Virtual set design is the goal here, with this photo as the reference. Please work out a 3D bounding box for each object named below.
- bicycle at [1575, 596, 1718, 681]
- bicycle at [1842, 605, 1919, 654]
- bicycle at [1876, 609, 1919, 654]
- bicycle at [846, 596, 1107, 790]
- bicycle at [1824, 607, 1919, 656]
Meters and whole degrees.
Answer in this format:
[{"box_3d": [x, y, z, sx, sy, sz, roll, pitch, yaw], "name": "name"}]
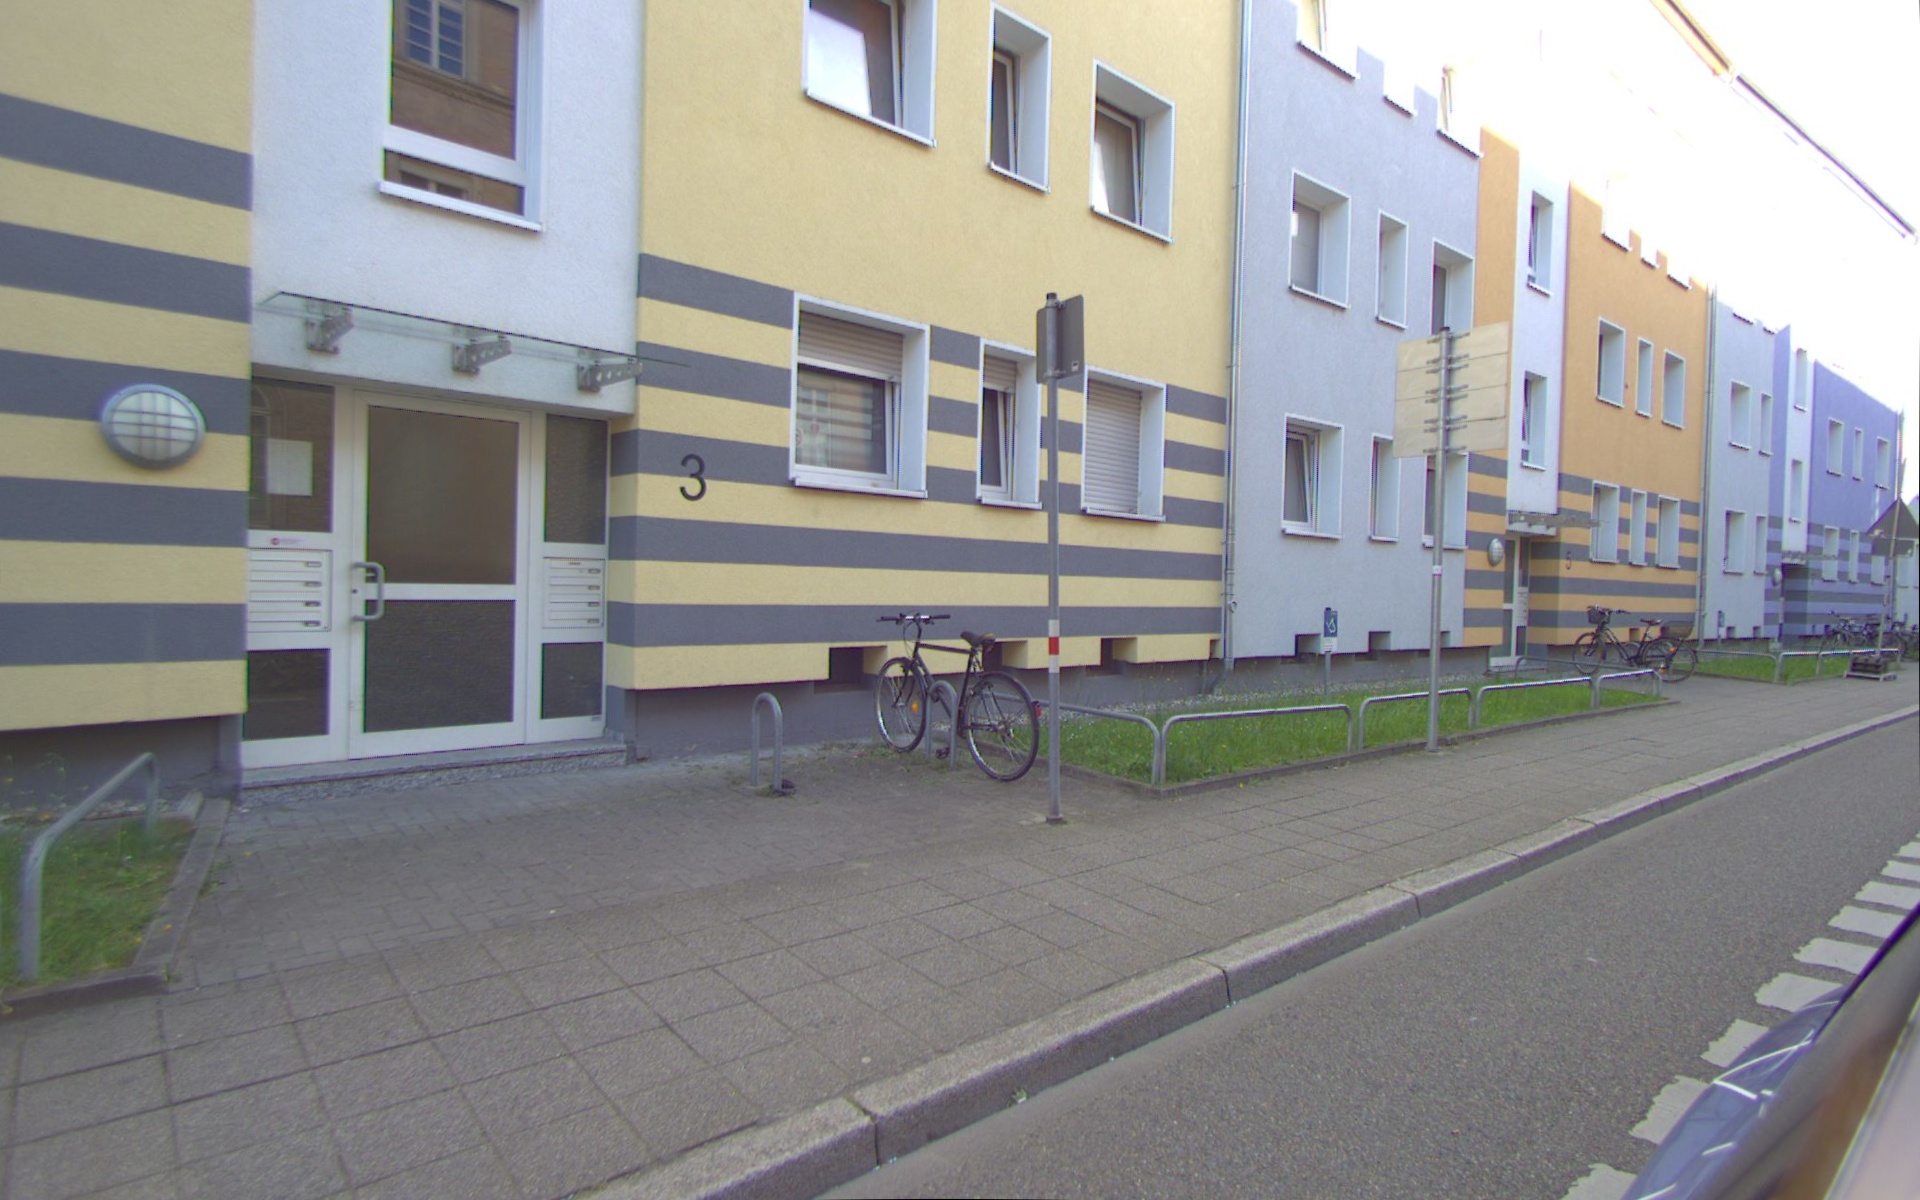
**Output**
[{"box_3d": [10.741, 0.577, 15.884, 0.625, 1.173, 1.709, 1, 3, -42], "name": "bicycle"}, {"box_3d": [23.250, 0.726, 25.284, 0.625, 1.095, 1.711, 1, 3, -40], "name": "bicycle"}, {"box_3d": [24.168, 0.816, 25.359, 0.625, 1.048, 1.709, 1, 3, -42], "name": "bicycle"}, {"box_3d": [0.047, 0.561, 7.064, 0.625, 1.074, 1.946, 1, 3, -42], "name": "bicycle"}, {"box_3d": [22.281, 0.754, 24.689, 0.624, 1.058, 1.711, 1, 3, -39], "name": "bicycle"}]
